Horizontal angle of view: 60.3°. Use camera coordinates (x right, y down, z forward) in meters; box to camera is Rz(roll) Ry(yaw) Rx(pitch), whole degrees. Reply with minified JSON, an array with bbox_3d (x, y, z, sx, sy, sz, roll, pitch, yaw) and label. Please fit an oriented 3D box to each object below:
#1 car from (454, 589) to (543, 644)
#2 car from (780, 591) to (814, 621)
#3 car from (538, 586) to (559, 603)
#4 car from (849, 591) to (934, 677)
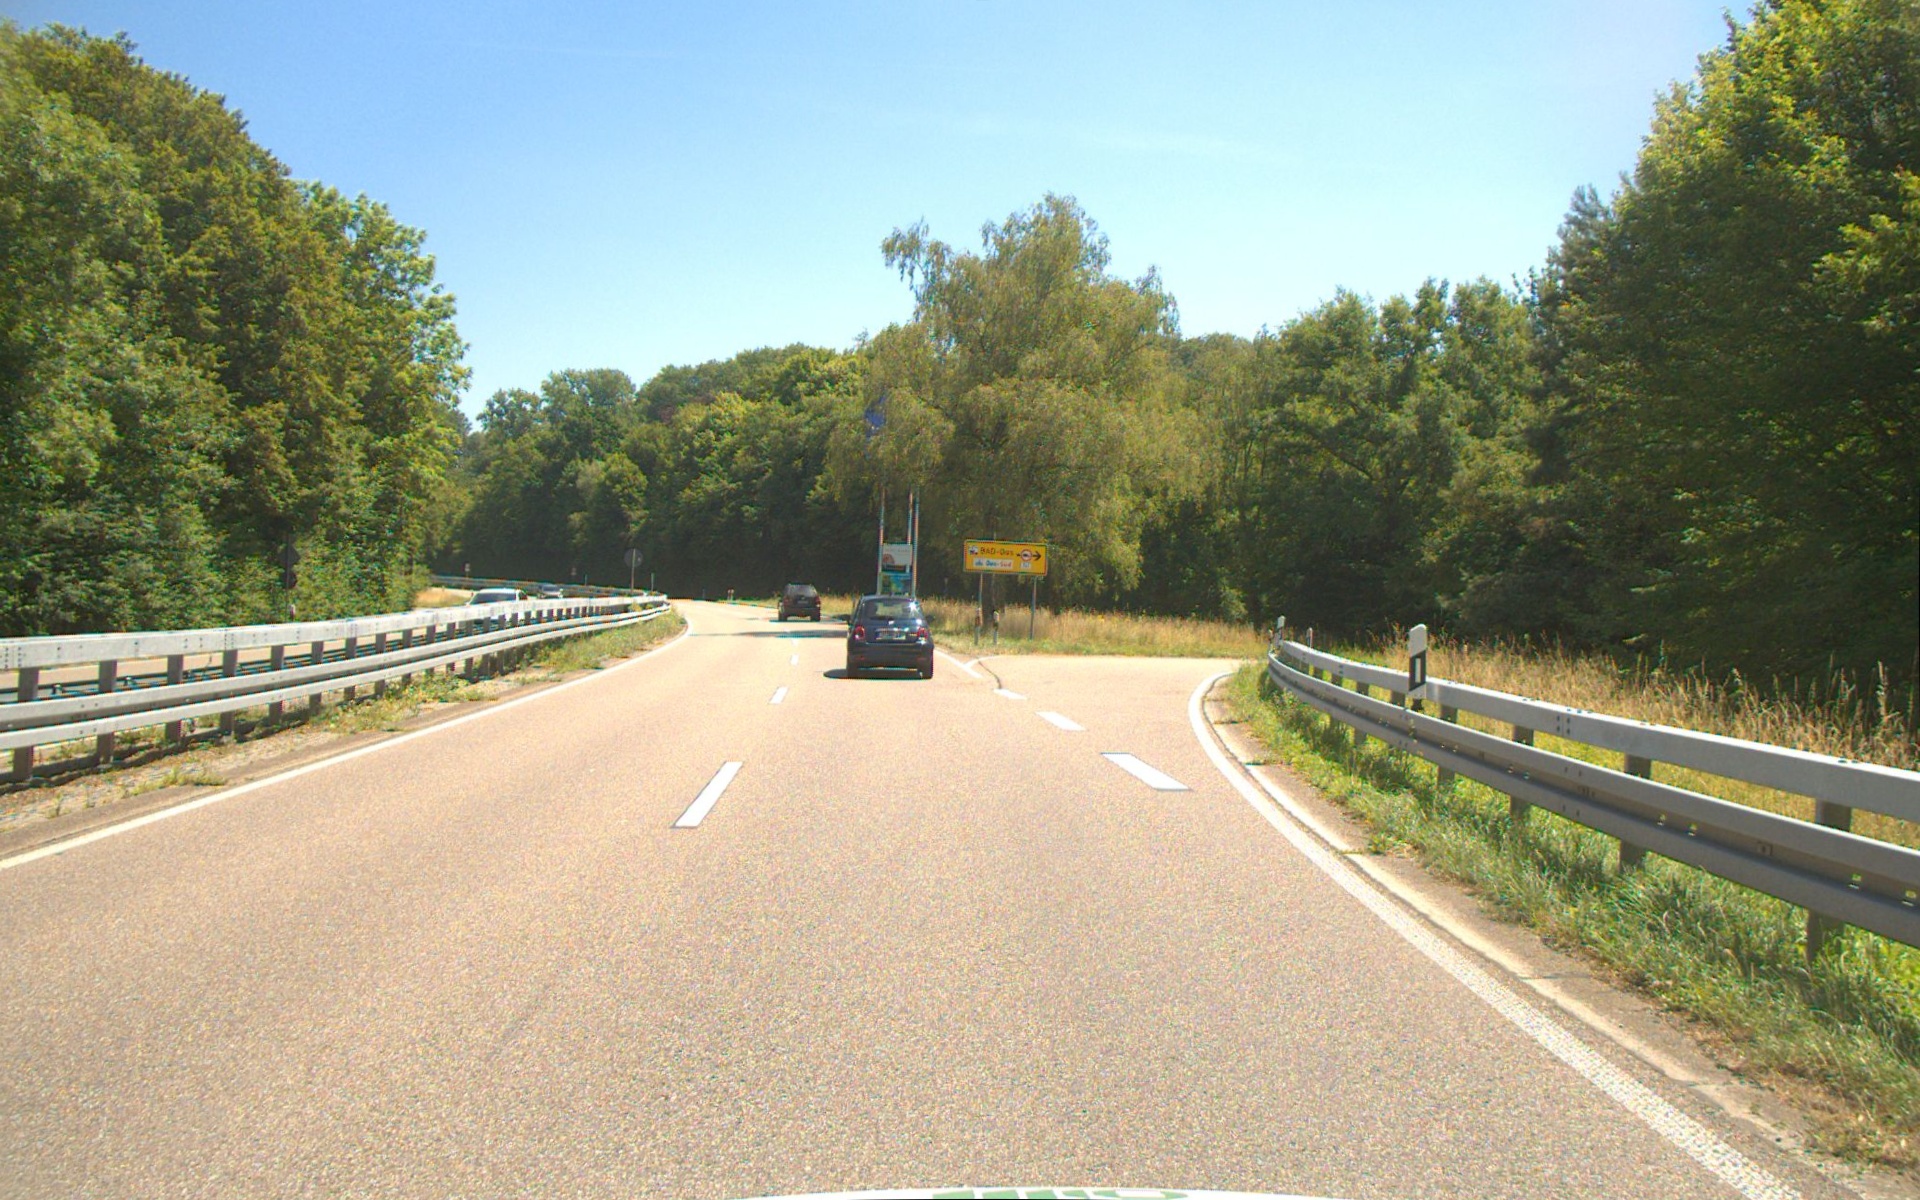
[{"bbox_3d":[-14.050,0.487,50.566,1.721,1.600,4.411,0,0,-3],"label":"car"},{"bbox_3d":[-7.589,0.263,76.841,1.496,1.336,3.409,0,0,-7],"label":"car"},{"bbox_3d":[-34.013,-0.449,136.728,1.418,1.405,3.828,0,0,-18],"label":"car"},{"bbox_3d":[-1.240,0.602,31.212,1.482,1.527,3.589,0,0,-1],"label":"car"}]
